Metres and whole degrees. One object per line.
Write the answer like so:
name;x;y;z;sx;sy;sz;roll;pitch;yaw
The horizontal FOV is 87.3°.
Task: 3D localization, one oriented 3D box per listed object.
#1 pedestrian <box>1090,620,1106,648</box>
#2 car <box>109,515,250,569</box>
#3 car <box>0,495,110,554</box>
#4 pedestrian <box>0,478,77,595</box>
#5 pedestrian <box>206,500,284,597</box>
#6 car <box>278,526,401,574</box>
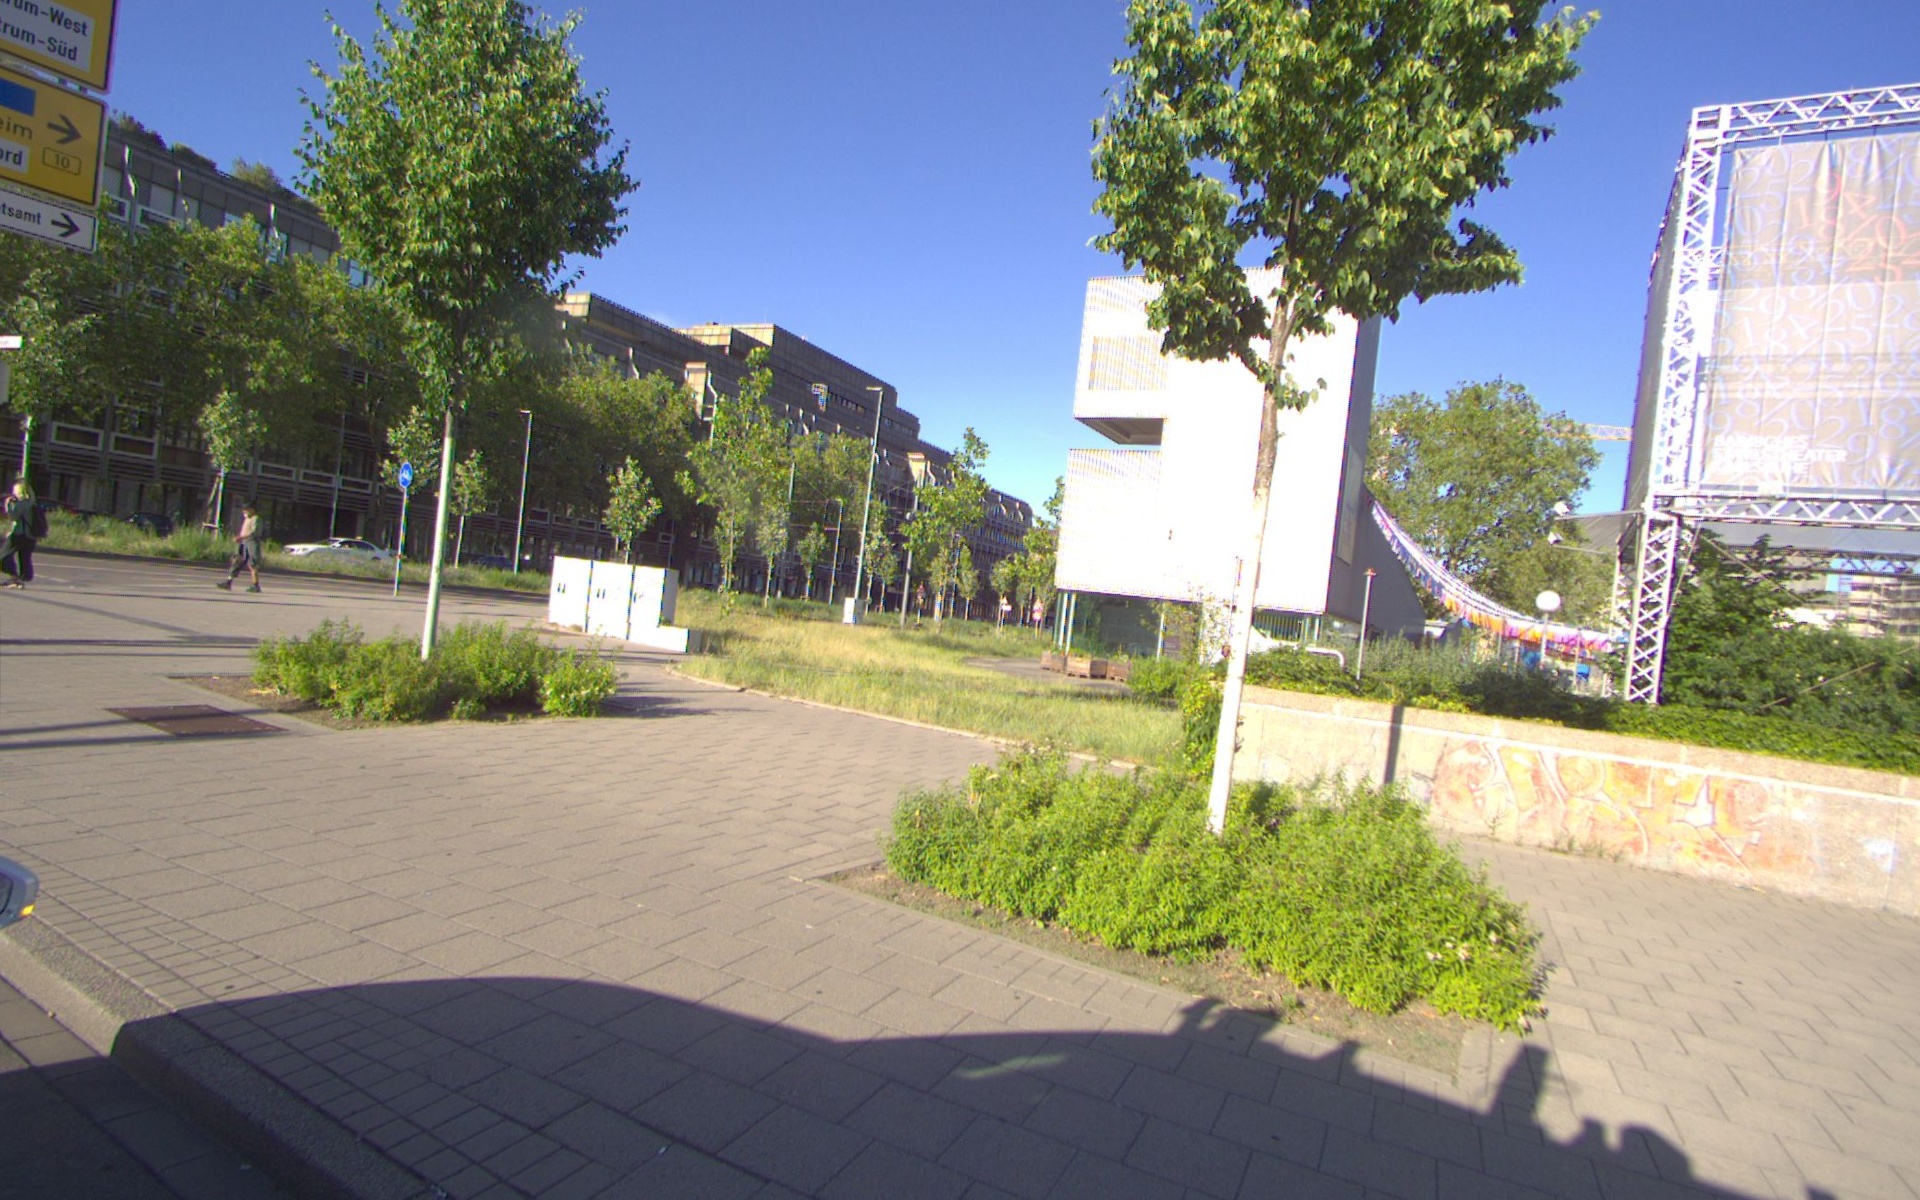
pedestrian;8.148;2.027;59.466;0.520;1.571;0.638;7;-1;31
car;-33.996;-2.504;43.950;1.794;1.704;4.412;7;-1;29
car;-33.202;-2.777;35.612;1.792;1.704;4.302;7;-1;21
pedestrian;-14.053;-0.962;15.207;0.866;1.634;0.760;6;1;-36
pedestrian;-13.929;-0.993;19.607;0.755;1.728;0.873;7;1;30
car;-30.824;-2.471;50.132;1.794;1.704;4.854;7;-1;28
